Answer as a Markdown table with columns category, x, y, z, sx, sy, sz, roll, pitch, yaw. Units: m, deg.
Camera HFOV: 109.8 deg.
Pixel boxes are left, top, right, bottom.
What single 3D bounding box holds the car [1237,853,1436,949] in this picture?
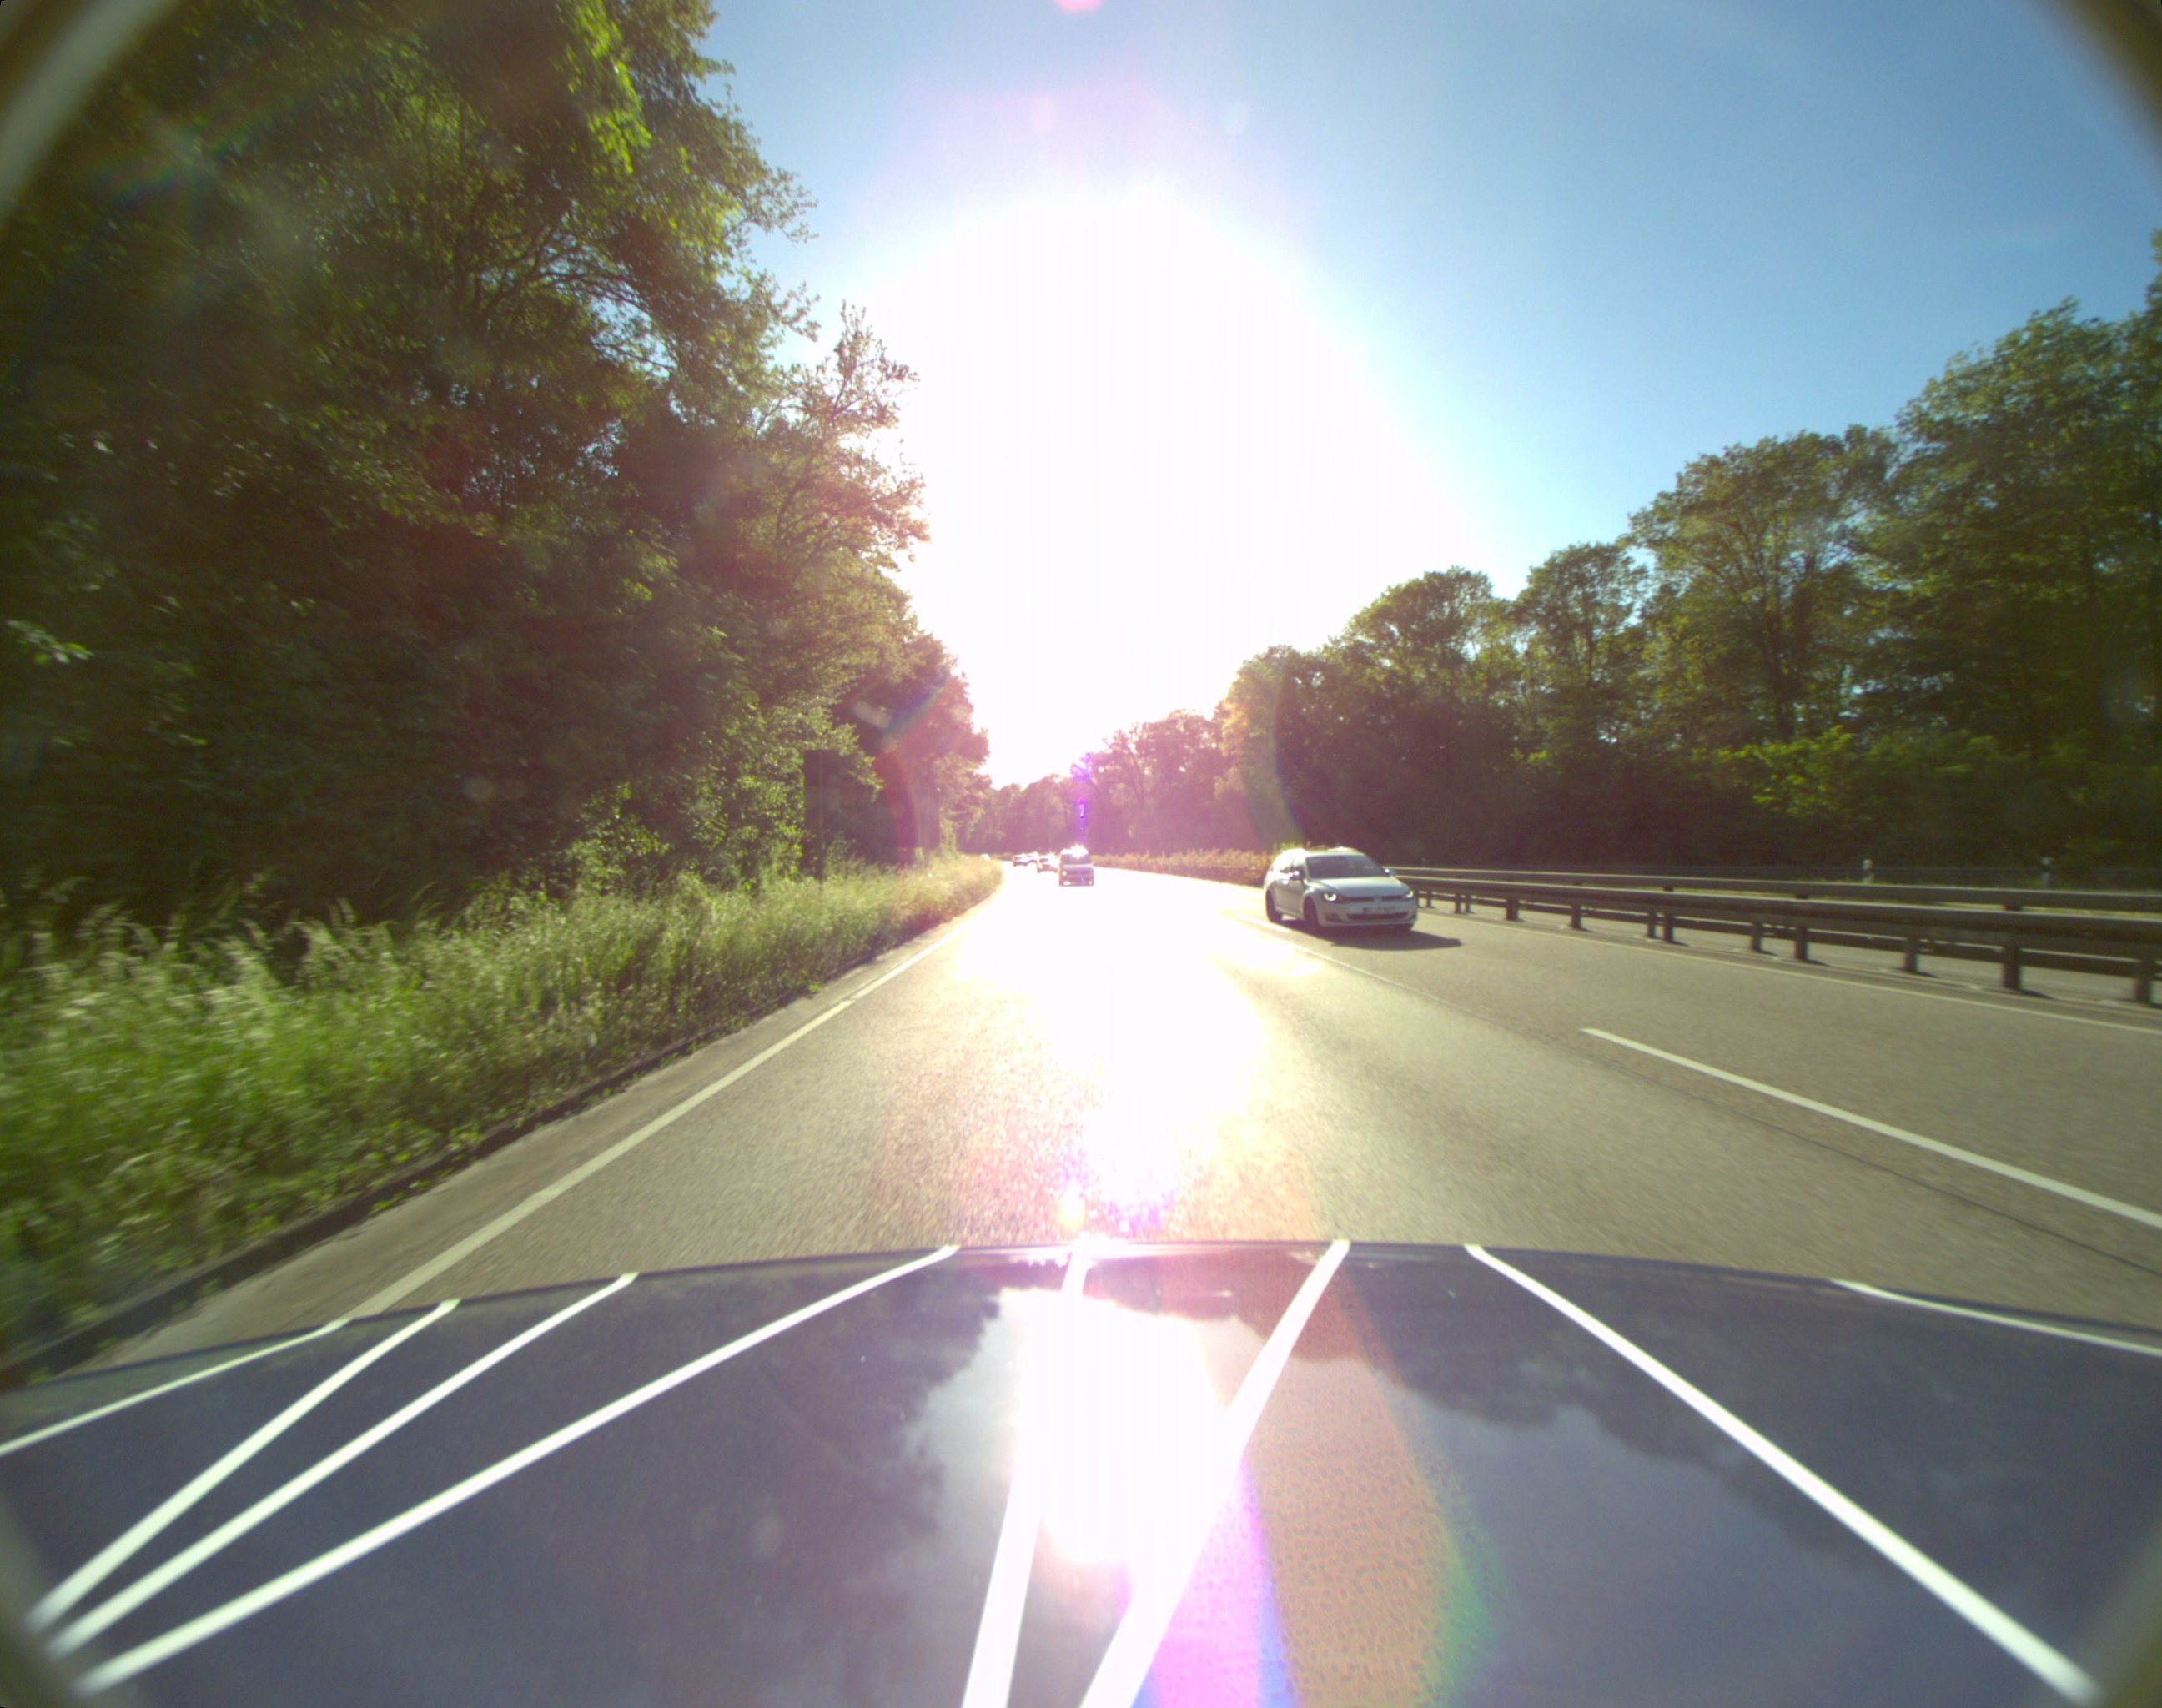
| category | x | y | z | sx | sy | sz | roll | pitch | yaw |
| --- | --- | --- | --- | --- | --- | --- | --- | --- | --- |
| car | 4.725 | 0.772 | 15.124 | 1.934 | 1.499 | 5.598 | -2 | 0 | -1 |

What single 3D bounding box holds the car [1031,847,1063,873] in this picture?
| category | x | y | z | sx | sy | sz | roll | pitch | yaw |
| --- | --- | --- | --- | --- | --- | --- | --- | --- | --- |
| car | -2.951 | 0.445 | 65.223 | 2.258 | 1.843 | 5.135 | -2 | 3 | -8 |

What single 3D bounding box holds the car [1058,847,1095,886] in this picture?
| category | x | y | z | sx | sy | sz | roll | pitch | yaw |
| --- | --- | --- | --- | --- | --- | --- | --- | --- | --- |
| car | -0.278 | 0.598 | 40.147 | 1.800 | 1.796 | 4.831 | -2 | 1 | -1 |

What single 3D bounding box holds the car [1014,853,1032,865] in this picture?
| category | x | y | z | sx | sy | sz | roll | pitch | yaw |
| --- | --- | --- | --- | --- | --- | --- | --- | --- | --- |
| car | -7.536 | 0.641 | 98.582 | 1.935 | 1.499 | 5.082 | -1 | 0 | -7 |
